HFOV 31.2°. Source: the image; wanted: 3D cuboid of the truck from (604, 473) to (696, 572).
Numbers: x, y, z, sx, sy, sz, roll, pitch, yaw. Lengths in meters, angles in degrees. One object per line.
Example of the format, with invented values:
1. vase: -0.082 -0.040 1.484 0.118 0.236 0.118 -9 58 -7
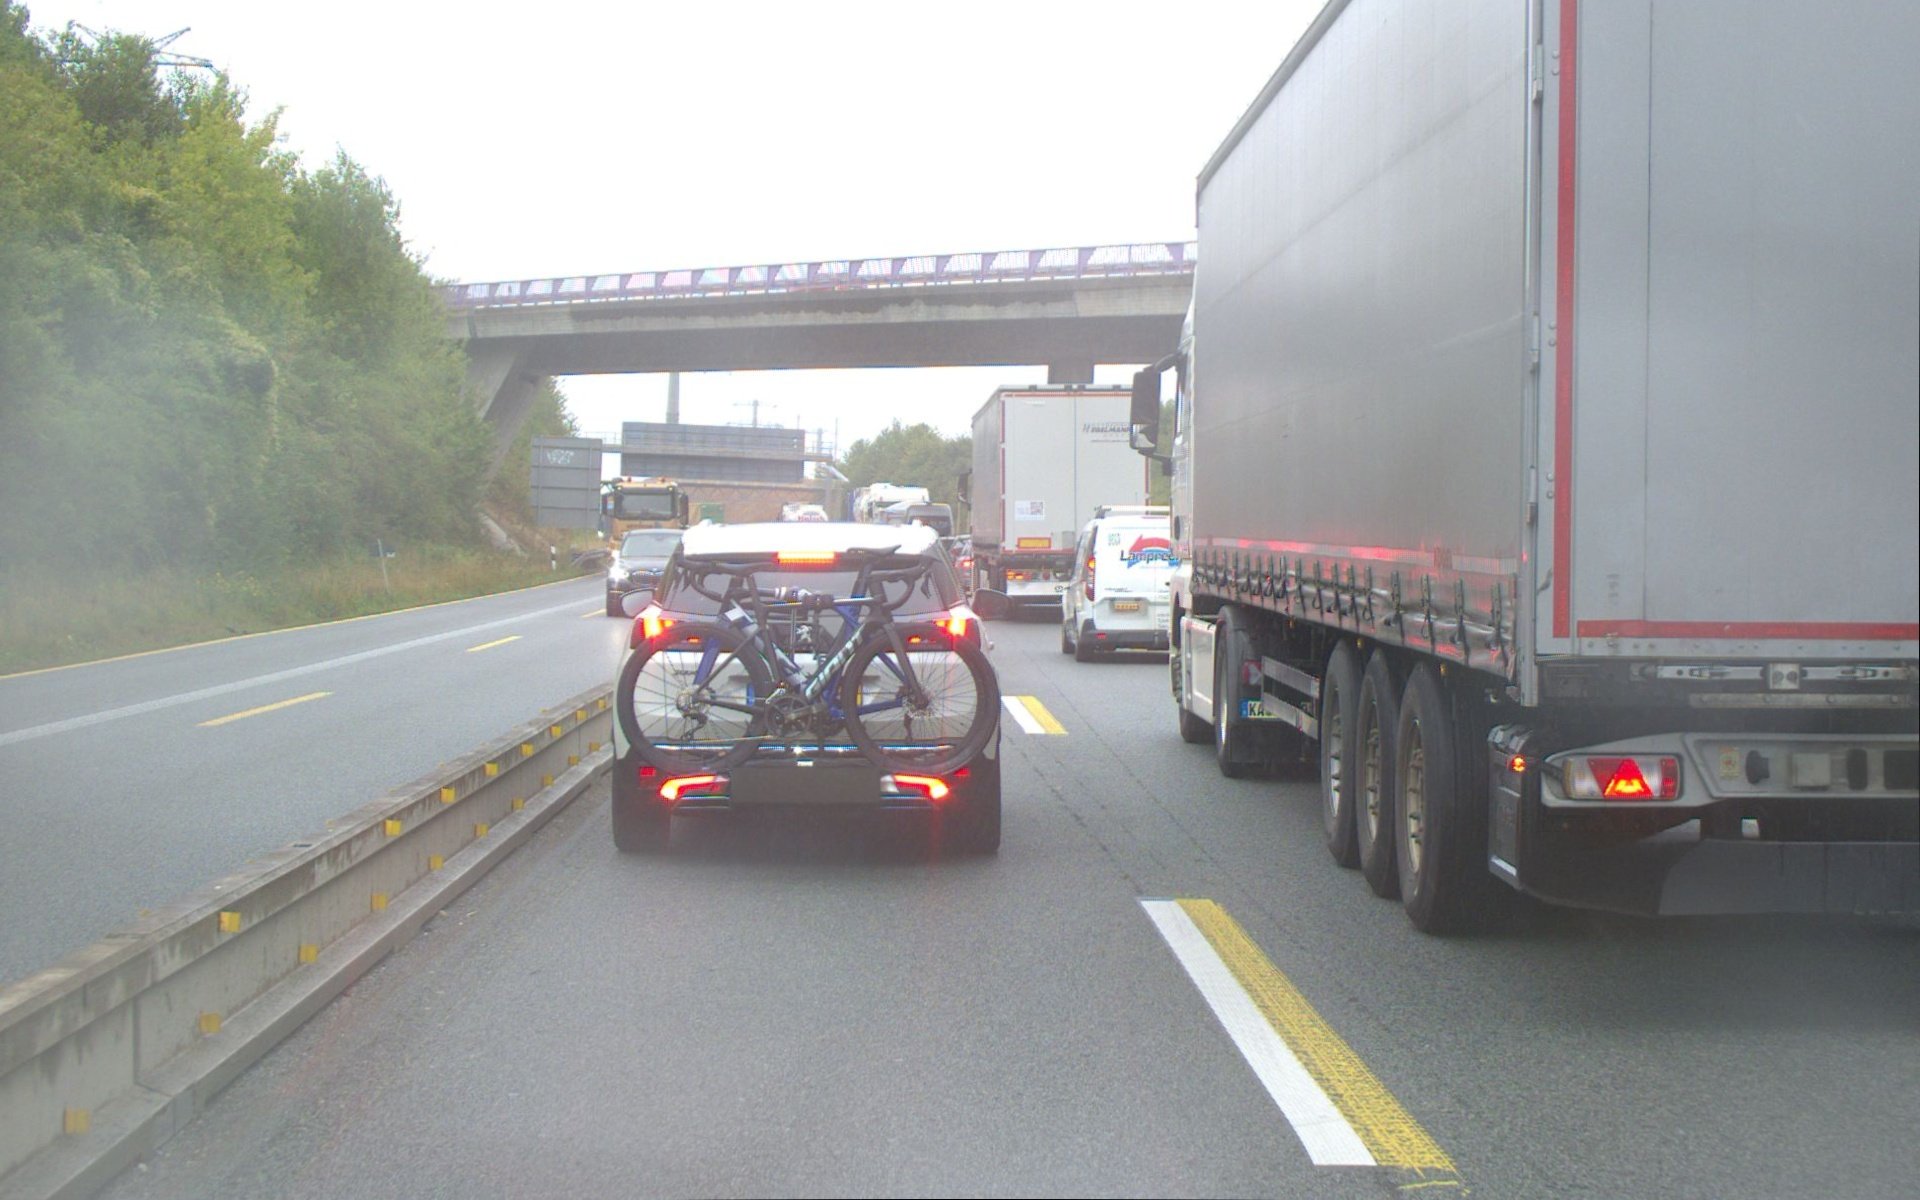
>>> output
1. truck: -11.020 -2.722 123.031 2.535 3.341 12.051 1 1 -2

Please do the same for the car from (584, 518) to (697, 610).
1. car: -5.875 -0.678 63.548 1.810 1.627 4.118 1 1 -2

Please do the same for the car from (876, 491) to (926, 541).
1. car: -2.423 -3.471 142.222 1.993 2.007 4.000 1 1 -1

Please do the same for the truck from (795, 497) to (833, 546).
1. truck: -10.321 -5.555 244.156 2.535 3.341 12.051 1 1 -2

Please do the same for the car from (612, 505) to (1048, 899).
1. car: -0.530 0.397 16.699 1.810 1.632 4.635 1 1 0

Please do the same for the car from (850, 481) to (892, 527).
1. car: -4.340 -4.682 168.146 1.993 2.119 4.527 1 1 -1

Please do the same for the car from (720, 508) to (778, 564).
1. car: -7.050 -2.124 115.184 1.810 1.817 4.636 1 1 -2

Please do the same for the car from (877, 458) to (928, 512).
1. car: -2.570 -5.170 155.062 2.239 2.299 4.572 1 1 -1

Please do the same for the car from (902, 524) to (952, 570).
1. car: -1.100 -1.785 115.496 1.638 1.492 3.666 1 1 -1

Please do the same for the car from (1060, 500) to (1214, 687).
1. car: 2.134 -0.108 42.411 1.670 2.173 4.535 1 1 0

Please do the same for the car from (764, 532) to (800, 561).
1. car: -8.703 -2.613 168.422 1.686 1.404 3.931 1 1 -2

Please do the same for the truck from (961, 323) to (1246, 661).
1. truck: 2.482 -1.963 68.176 4.743 5.654 20.376 1 1 0

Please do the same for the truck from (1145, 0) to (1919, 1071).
1. truck: 3.569 -1.646 19.717 3.979 5.654 20.376 1 1 0

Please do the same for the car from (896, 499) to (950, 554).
1. car: -1.407 -2.763 129.503 1.993 2.007 4.000 1 1 -1

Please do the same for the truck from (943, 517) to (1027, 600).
1. truck: 0.605 -1.031 85.701 1.993 2.007 4.000 1 1 -1
